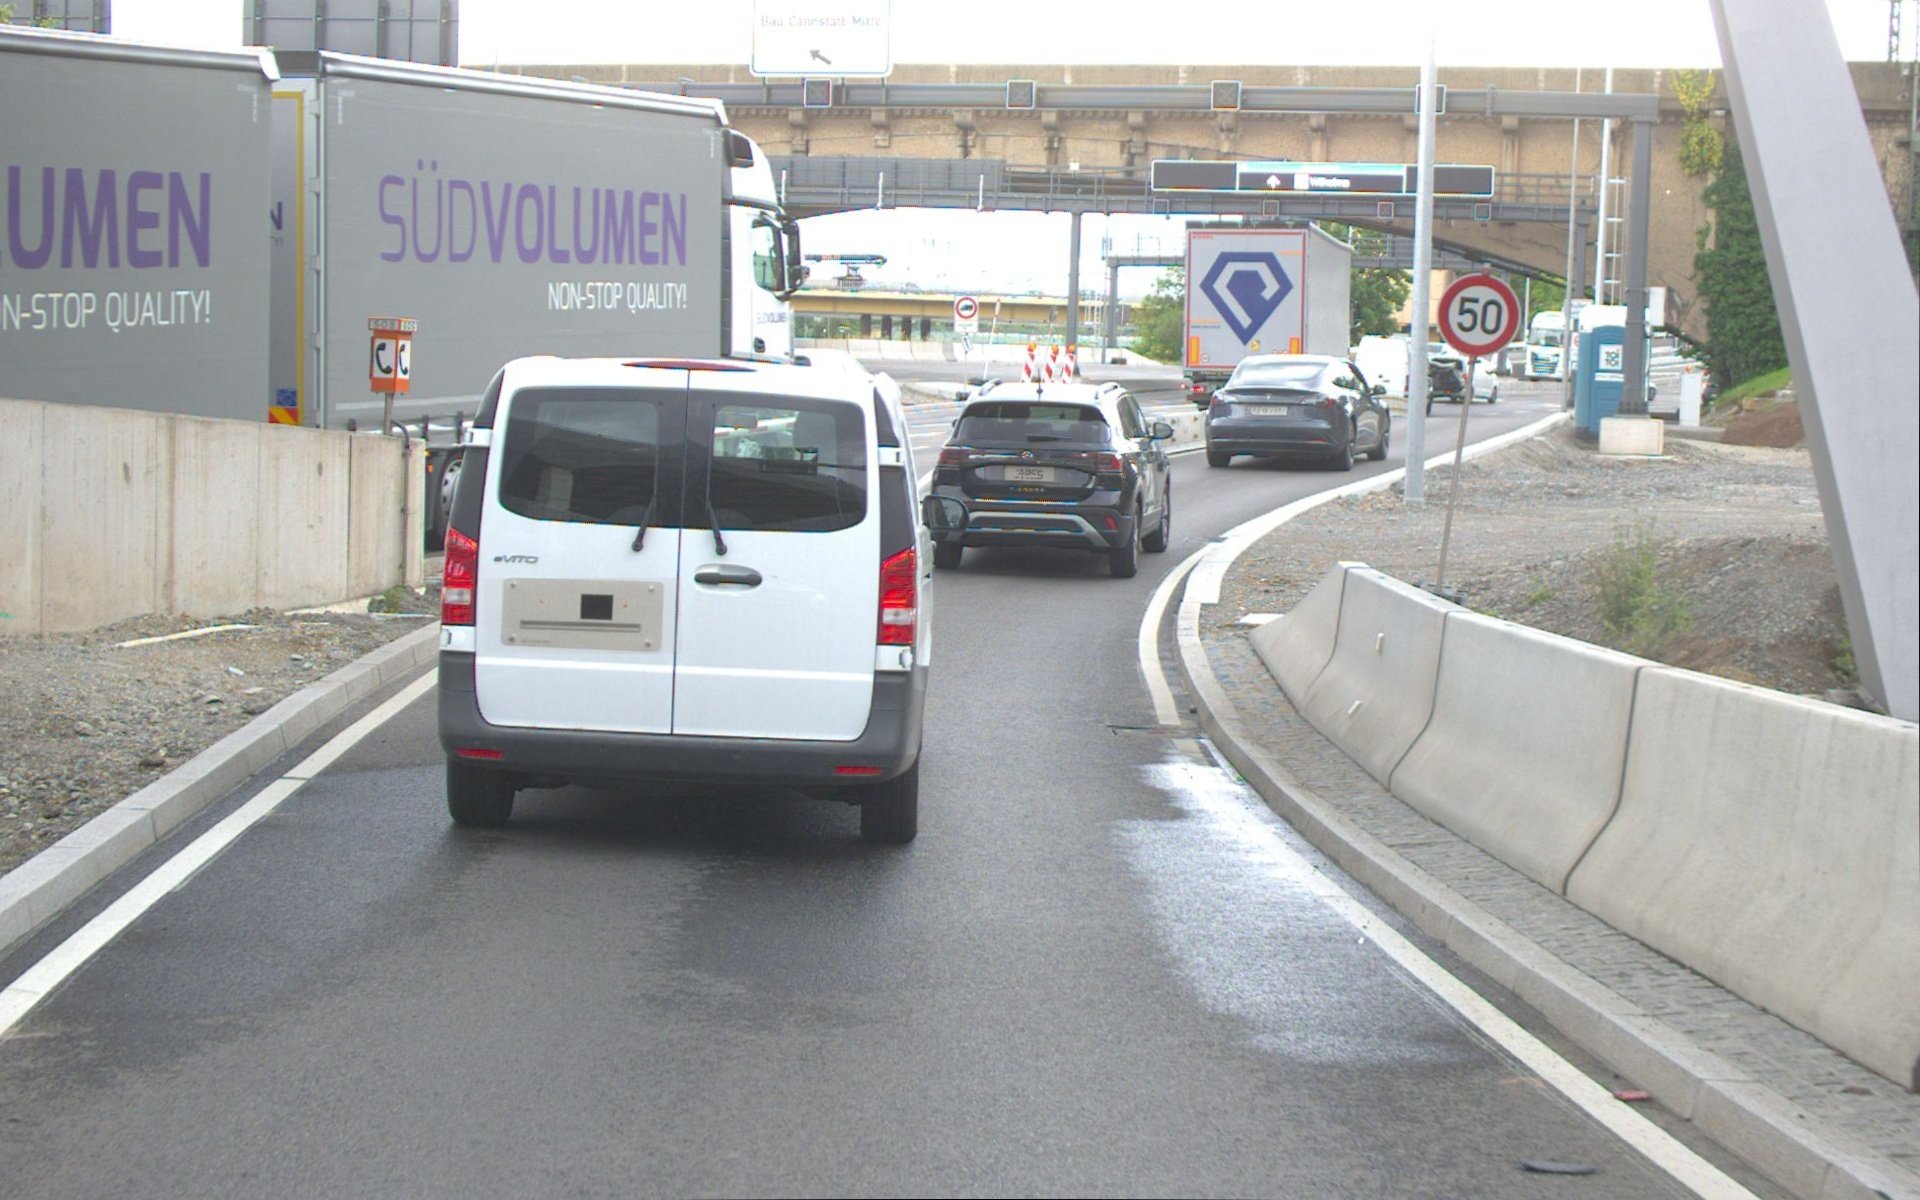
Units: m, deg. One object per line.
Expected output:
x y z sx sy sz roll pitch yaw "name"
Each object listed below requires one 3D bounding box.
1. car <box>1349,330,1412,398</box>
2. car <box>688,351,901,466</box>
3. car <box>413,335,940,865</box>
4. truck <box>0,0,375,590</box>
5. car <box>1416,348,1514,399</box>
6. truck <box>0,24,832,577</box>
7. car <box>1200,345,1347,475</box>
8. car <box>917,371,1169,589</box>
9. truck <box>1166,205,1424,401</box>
14.486 -8.104 118.304 1.898 2.108 4.484 4 3 8 "car"
-2.444 -2.851 51.680 1.995 1.546 3.997 3 3 15 "car"
-1.060 -0.090 14.938 1.876 1.884 4.754 2 2 -1 "car"
-7.817 -2.150 23.386 2.921 4.002 10.193 4 6 19 "truck"
20.527 -9.193 139.701 1.902 1.802 4.475 5 3 37 "car"
-4.699 -2.806 31.950 2.990 4.160 11.233 4 6 19 "truck"
4.089 -2.496 44.521 1.501 1.463 3.398 4 6 10 "car"
0.787 -1.108 29.943 1.750 1.619 3.845 4 5 6 "car"
7.891 -6.650 78.097 3.319 3.795 16.587 5 5 13 "truck"
